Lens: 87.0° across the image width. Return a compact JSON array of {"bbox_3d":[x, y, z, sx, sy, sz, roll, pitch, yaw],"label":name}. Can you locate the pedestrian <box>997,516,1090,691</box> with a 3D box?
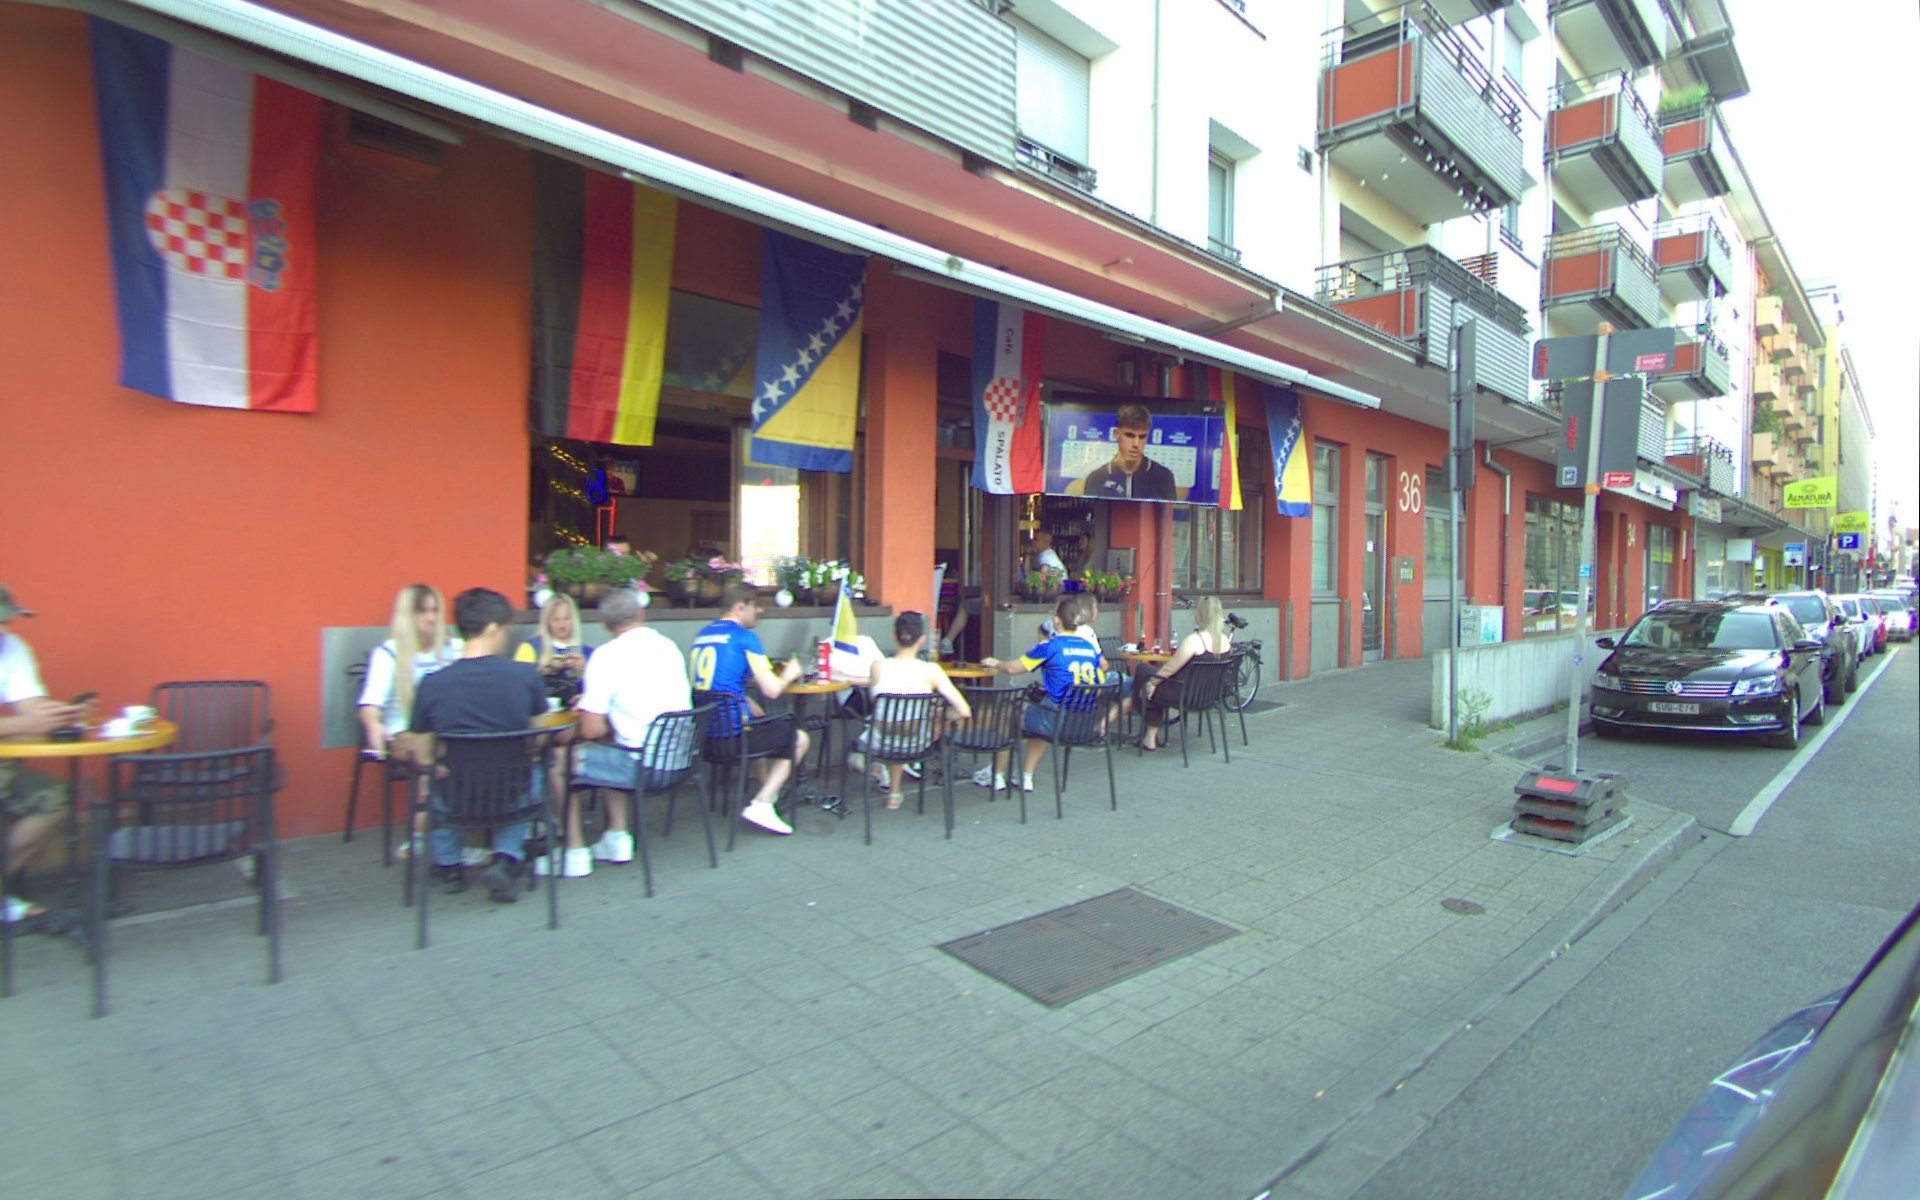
[{"bbox_3d":[0.869,0.030,10.568,0.716,1.742,0.658,1,0,44],"label":"pedestrian"}]

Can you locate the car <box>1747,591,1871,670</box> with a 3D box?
[{"bbox_3d":[17.185,0.539,20.418,1.747,1.421,3.906,0,0,43],"label":"car"}]

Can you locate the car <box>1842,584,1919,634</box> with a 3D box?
[{"bbox_3d":[29.655,0.265,32.273,4.228,1.496,1.894,0,0,-43],"label":"car"}]

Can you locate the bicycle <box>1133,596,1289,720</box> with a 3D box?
[{"bbox_3d":[2.496,0.511,9.901,0.549,1.101,1.973,-1,0,45],"label":"bicycle"}]

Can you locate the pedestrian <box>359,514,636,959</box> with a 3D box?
[{"bbox_3d":[-1.862,0.466,4.075,0.712,1.554,0.748,6,4,41],"label":"pedestrian"}]

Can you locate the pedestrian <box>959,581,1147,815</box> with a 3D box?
[{"bbox_3d":[0.569,0.558,6.407,0.835,1.321,0.880,0,2,-25],"label":"pedestrian"}]

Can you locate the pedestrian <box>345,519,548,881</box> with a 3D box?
[{"bbox_3d":[-2.446,0.414,4.813,0.673,1.554,0.644,4,3,43],"label":"pedestrian"}]

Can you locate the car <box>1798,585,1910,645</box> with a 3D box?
[{"bbox_3d":[24.070,0.356,27.189,4.320,1.496,1.864,0,0,-43],"label":"car"}]

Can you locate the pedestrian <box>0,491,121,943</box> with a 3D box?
[{"bbox_3d":[-3.682,0.403,3.728,0.635,1.555,0.754,0,0,-12],"label":"pedestrian"}]

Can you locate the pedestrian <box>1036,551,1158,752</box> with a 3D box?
[{"bbox_3d":[1.138,0.397,8.355,0.843,1.555,0.709,0,0,23],"label":"pedestrian"}]

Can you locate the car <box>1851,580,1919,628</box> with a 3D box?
[{"bbox_3d":[33.628,0.122,36.267,4.290,1.637,1.997,0,0,-41],"label":"car"}]

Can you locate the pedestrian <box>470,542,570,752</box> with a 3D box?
[{"bbox_3d":[-3.955,0.399,9.109,0.609,1.799,0.609,0,0,37],"label":"pedestrian"}]

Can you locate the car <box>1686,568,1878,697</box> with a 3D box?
[{"bbox_3d":[12.802,0.419,15.672,4.070,1.721,1.880,0,0,-45],"label":"car"}]

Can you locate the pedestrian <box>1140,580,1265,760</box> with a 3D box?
[{"bbox_3d":[1.927,0.515,8.006,0.843,1.293,0.709,2,4,23],"label":"pedestrian"}]

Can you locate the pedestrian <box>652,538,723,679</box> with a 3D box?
[{"bbox_3d":[-3.648,0.104,13.526,0.746,1.816,0.650,0,0,-35],"label":"pedestrian"}]

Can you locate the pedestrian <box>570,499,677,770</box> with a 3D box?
[{"bbox_3d":[-2.359,0.223,7.097,0.536,1.799,0.513,1,0,42],"label":"pedestrian"}]

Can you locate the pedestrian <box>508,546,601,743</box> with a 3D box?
[{"bbox_3d":[-3.875,0.395,9.672,0.609,1.799,0.609,0,0,37],"label":"pedestrian"}]

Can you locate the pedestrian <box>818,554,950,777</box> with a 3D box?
[{"bbox_3d":[-0.531,0.421,6.995,0.712,1.439,0.592,0,0,44],"label":"pedestrian"}]

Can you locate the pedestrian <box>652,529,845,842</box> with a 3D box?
[{"bbox_3d":[-1.168,0.423,5.570,0.849,1.555,0.669,0,0,42],"label":"pedestrian"}]

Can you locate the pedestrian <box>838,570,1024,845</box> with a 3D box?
[{"bbox_3d":[-0.157,0.533,5.582,0.653,1.361,0.738,4,3,42],"label":"pedestrian"}]

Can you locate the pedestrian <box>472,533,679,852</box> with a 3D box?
[{"bbox_3d":[-2.045,0.432,5.384,0.767,1.523,0.771,1,1,43],"label":"pedestrian"}]

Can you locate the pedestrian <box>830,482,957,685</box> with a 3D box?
[{"bbox_3d":[-0.737,-0.174,10.861,1.126,2.039,1.155,0,0,-16],"label":"pedestrian"}]

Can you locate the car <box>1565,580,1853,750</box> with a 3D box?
[{"bbox_3d":[8.719,0.589,11.616,4.553,1.571,1.876,0,0,-43],"label":"car"}]

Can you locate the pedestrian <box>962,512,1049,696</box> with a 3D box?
[{"bbox_3d":[0.453,0.032,10.084,0.610,1.760,0.608,1,0,44],"label":"pedestrian"}]

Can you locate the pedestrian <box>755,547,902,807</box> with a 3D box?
[{"bbox_3d":[-0.798,0.423,6.113,0.665,1.451,0.552,4,2,43],"label":"pedestrian"}]

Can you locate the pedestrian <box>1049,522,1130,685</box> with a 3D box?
[{"bbox_3d":[1.684,0.034,13.163,0.799,2.039,0.670,0,0,-35],"label":"pedestrian"}]

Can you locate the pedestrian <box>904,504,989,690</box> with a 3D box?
[{"bbox_3d":[-0.137,-0.032,10.222,0.610,1.799,0.608,1,0,42],"label":"pedestrian"}]

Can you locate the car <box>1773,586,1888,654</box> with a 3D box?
[{"bbox_3d":[20.880,0.428,24.220,3.883,1.496,1.764,0,0,-44],"label":"car"}]

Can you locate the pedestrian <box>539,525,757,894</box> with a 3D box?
[{"bbox_3d":[-1.461,0.449,4.747,0.648,1.545,0.690,6,4,41],"label":"pedestrian"}]
